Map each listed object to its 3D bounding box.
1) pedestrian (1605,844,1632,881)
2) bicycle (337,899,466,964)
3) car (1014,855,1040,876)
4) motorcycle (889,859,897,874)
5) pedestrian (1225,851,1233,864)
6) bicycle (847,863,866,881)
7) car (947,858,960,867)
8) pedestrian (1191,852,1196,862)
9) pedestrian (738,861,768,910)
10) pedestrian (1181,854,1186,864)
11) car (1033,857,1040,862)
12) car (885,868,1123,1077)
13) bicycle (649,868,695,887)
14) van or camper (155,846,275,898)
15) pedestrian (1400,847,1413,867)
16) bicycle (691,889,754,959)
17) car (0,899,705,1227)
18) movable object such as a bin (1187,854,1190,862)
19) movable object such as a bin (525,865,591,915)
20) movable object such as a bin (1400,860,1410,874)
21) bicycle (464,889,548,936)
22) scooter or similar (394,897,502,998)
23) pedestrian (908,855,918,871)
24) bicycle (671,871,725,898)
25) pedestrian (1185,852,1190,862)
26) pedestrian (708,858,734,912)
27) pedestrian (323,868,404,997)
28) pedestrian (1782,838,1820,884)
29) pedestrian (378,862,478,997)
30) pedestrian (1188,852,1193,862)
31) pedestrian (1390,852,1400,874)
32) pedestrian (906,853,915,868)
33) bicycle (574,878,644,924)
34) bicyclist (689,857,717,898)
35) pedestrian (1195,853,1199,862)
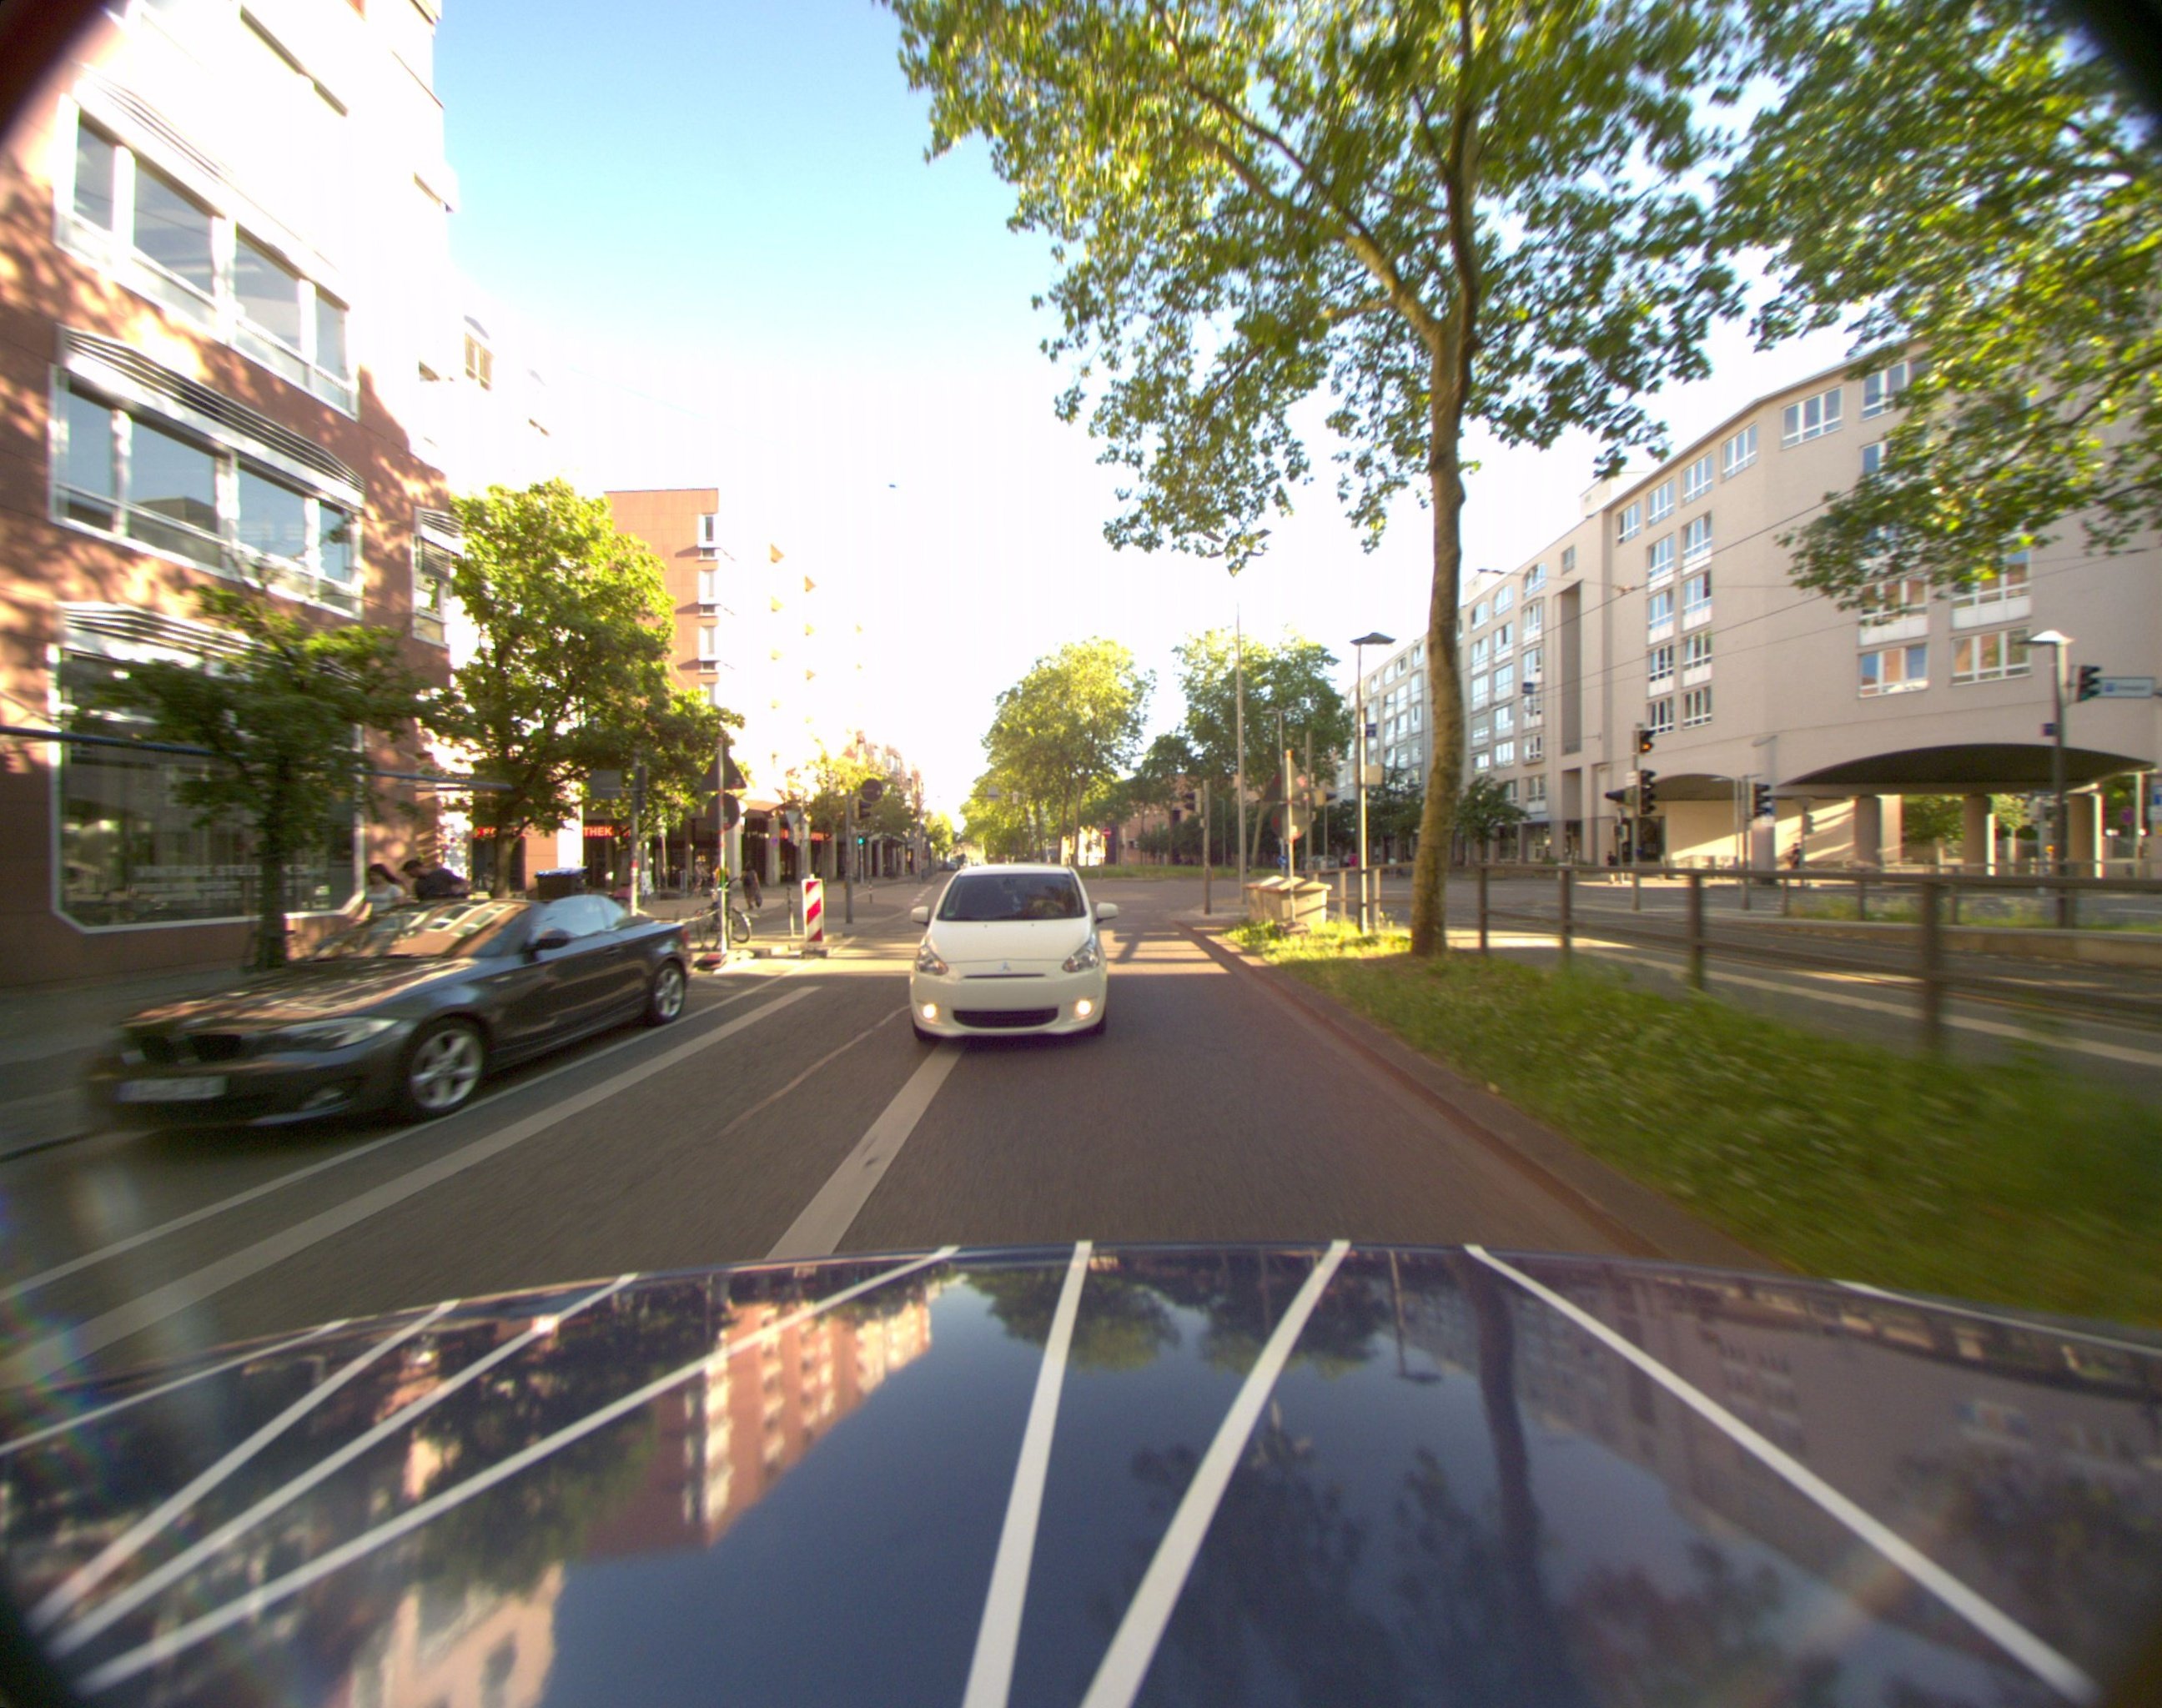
[{"bbox_3d":[27.998,0.437,39.599,0.858,1.858,0.751,0,0,-14],"label":"pedestrian"},{"bbox_3d":[-11.775,1.313,13.255,0.739,0.934,1.751,-1,0,-4],"label":"bicycle"},{"bbox_3d":[-4.465,0.938,62.433,1.825,1.630,3.997,-1,0,-8],"label":"car"},{"bbox_3d":[-17.614,1.162,71.274,0.490,1.364,2.089,-1,0,-8],"label":"motorcycle"},{"bbox_3d":[20.540,0.470,105.260,0.826,1.820,0.900,-1,0,-8],"label":"pedestrian"},{"bbox_3d":[-15.383,1.221,52.111,0.623,1.218,1.927,-1,0,4],"label":"bicycle"},{"bbox_3d":[-20.650,1.353,123.110,1.707,1.475,4.246,0,0,-6],"label":"car"},{"bbox_3d":[18.094,0.447,122.582,0.613,1.670,0.595,-1,0,-10],"label":"pedestrian"},{"bbox_3d":[-10.699,1.016,24.807,0.646,1.569,0.748,-1,1,-5],"label":"pedestrian"},{"bbox_3d":[16.717,0.835,123.947,0.666,1.607,0.756,-1,0,-10],"label":"pedestrian"},{"bbox_3d":[-14.019,1.787,240.694,1.676,1.420,4.146,-1,0,-10],"label":"car"},{"bbox_3d":[-0.751,0.930,7.979,1.721,1.442,4.423,-3,0,-5],"label":"car"},{"bbox_3d":[-24.736,1.407,45.947,2.448,1.088,0.593,-1,1,0],"label":"bicycle"},{"bbox_3d":[-49.569,0.940,43.726,2.362,2.751,6.439,-1,0,-28],"label":"van or camper"},{"bbox_3d":[26.326,0.244,61.492,0.708,1.629,0.788,-1,0,2],"label":"pedestrian"},{"bbox_3d":[-6.195,1.175,13.209,0.740,1.047,1.749,-1,0,-18],"label":"bicycle"},{"bbox_3d":[-4.765,1.136,5.810,1.624,1.295,4.311,-1,0,0],"label":"car"},{"bbox_3d":[17.177,0.672,121.580,0.357,1.271,0.756,-1,0,-9],"label":"movable object such as a bin"},{"bbox_3d":[-16.109,1.095,23.438,1.413,1.473,0.872,-1,1,3],"label":"movable object such as a bin"},{"bbox_3d":[22.597,0.900,52.954,0.511,0.948,0.539,-1,1,5],"label":"movable object such as a bin"},{"bbox_3d":[-13.847,1.386,18.292,1.748,1.047,0.740,-1,0,19],"label":"bicycle"},{"bbox_3d":[-8.223,1.180,9.929,0.395,1.151,1.249,-1,0,-3],"label":"scooter or similar"},{"bbox_3d":[-18.236,0.960,82.520,0.783,1.728,0.837,-1,1,0],"label":"pedestrian"},{"bbox_3d":[-16.813,1.340,33.364,1.920,1.106,0.803,-1,1,0],"label":"bicycle"},{"bbox_3d":[17.142,0.473,122.269,0.666,1.712,0.796,-1,0,-10],"label":"pedestrian"},{"bbox_3d":[-11.709,0.989,24.727,0.703,1.723,0.766,-1,1,-22],"label":"pedestrian"},{"bbox_3d":[-9.659,1.024,10.244,0.460,1.663,0.679,-1,1,-9],"label":"pedestrian"},{"bbox_3d":[31.948,0.290,33.726,0.836,2.002,0.887,-1,1,3],"label":"pedestrian"},{"bbox_3d":[-8.731,0.986,10.178,0.787,1.753,0.610,-1,1,3],"label":"pedestrian"},{"bbox_3d":[17.630,0.503,122.505,0.666,1.607,0.756,-1,0,-10],"label":"pedestrian"},{"bbox_3d":[22.195,0.625,53.741,0.534,1.495,0.620,-1,0,7],"label":"pedestrian"},{"bbox_3d":[-22.341,0.817,99.636,0.820,1.970,0.846,-1,1,-36],"label":"pedestrian"},{"bbox_3d":[-13.268,1.310,21.368,1.571,1.220,0.577,-1,0,-3],"label":"bicycle"},{"bbox_3d":[-16.596,1.006,33.361,0.827,1.760,0.788,-1,1,0],"label":"bicyclist"},{"bbox_3d":[18.661,0.541,122.000,0.483,1.496,0.464,-1,0,17],"label":"pedestrian"}]
